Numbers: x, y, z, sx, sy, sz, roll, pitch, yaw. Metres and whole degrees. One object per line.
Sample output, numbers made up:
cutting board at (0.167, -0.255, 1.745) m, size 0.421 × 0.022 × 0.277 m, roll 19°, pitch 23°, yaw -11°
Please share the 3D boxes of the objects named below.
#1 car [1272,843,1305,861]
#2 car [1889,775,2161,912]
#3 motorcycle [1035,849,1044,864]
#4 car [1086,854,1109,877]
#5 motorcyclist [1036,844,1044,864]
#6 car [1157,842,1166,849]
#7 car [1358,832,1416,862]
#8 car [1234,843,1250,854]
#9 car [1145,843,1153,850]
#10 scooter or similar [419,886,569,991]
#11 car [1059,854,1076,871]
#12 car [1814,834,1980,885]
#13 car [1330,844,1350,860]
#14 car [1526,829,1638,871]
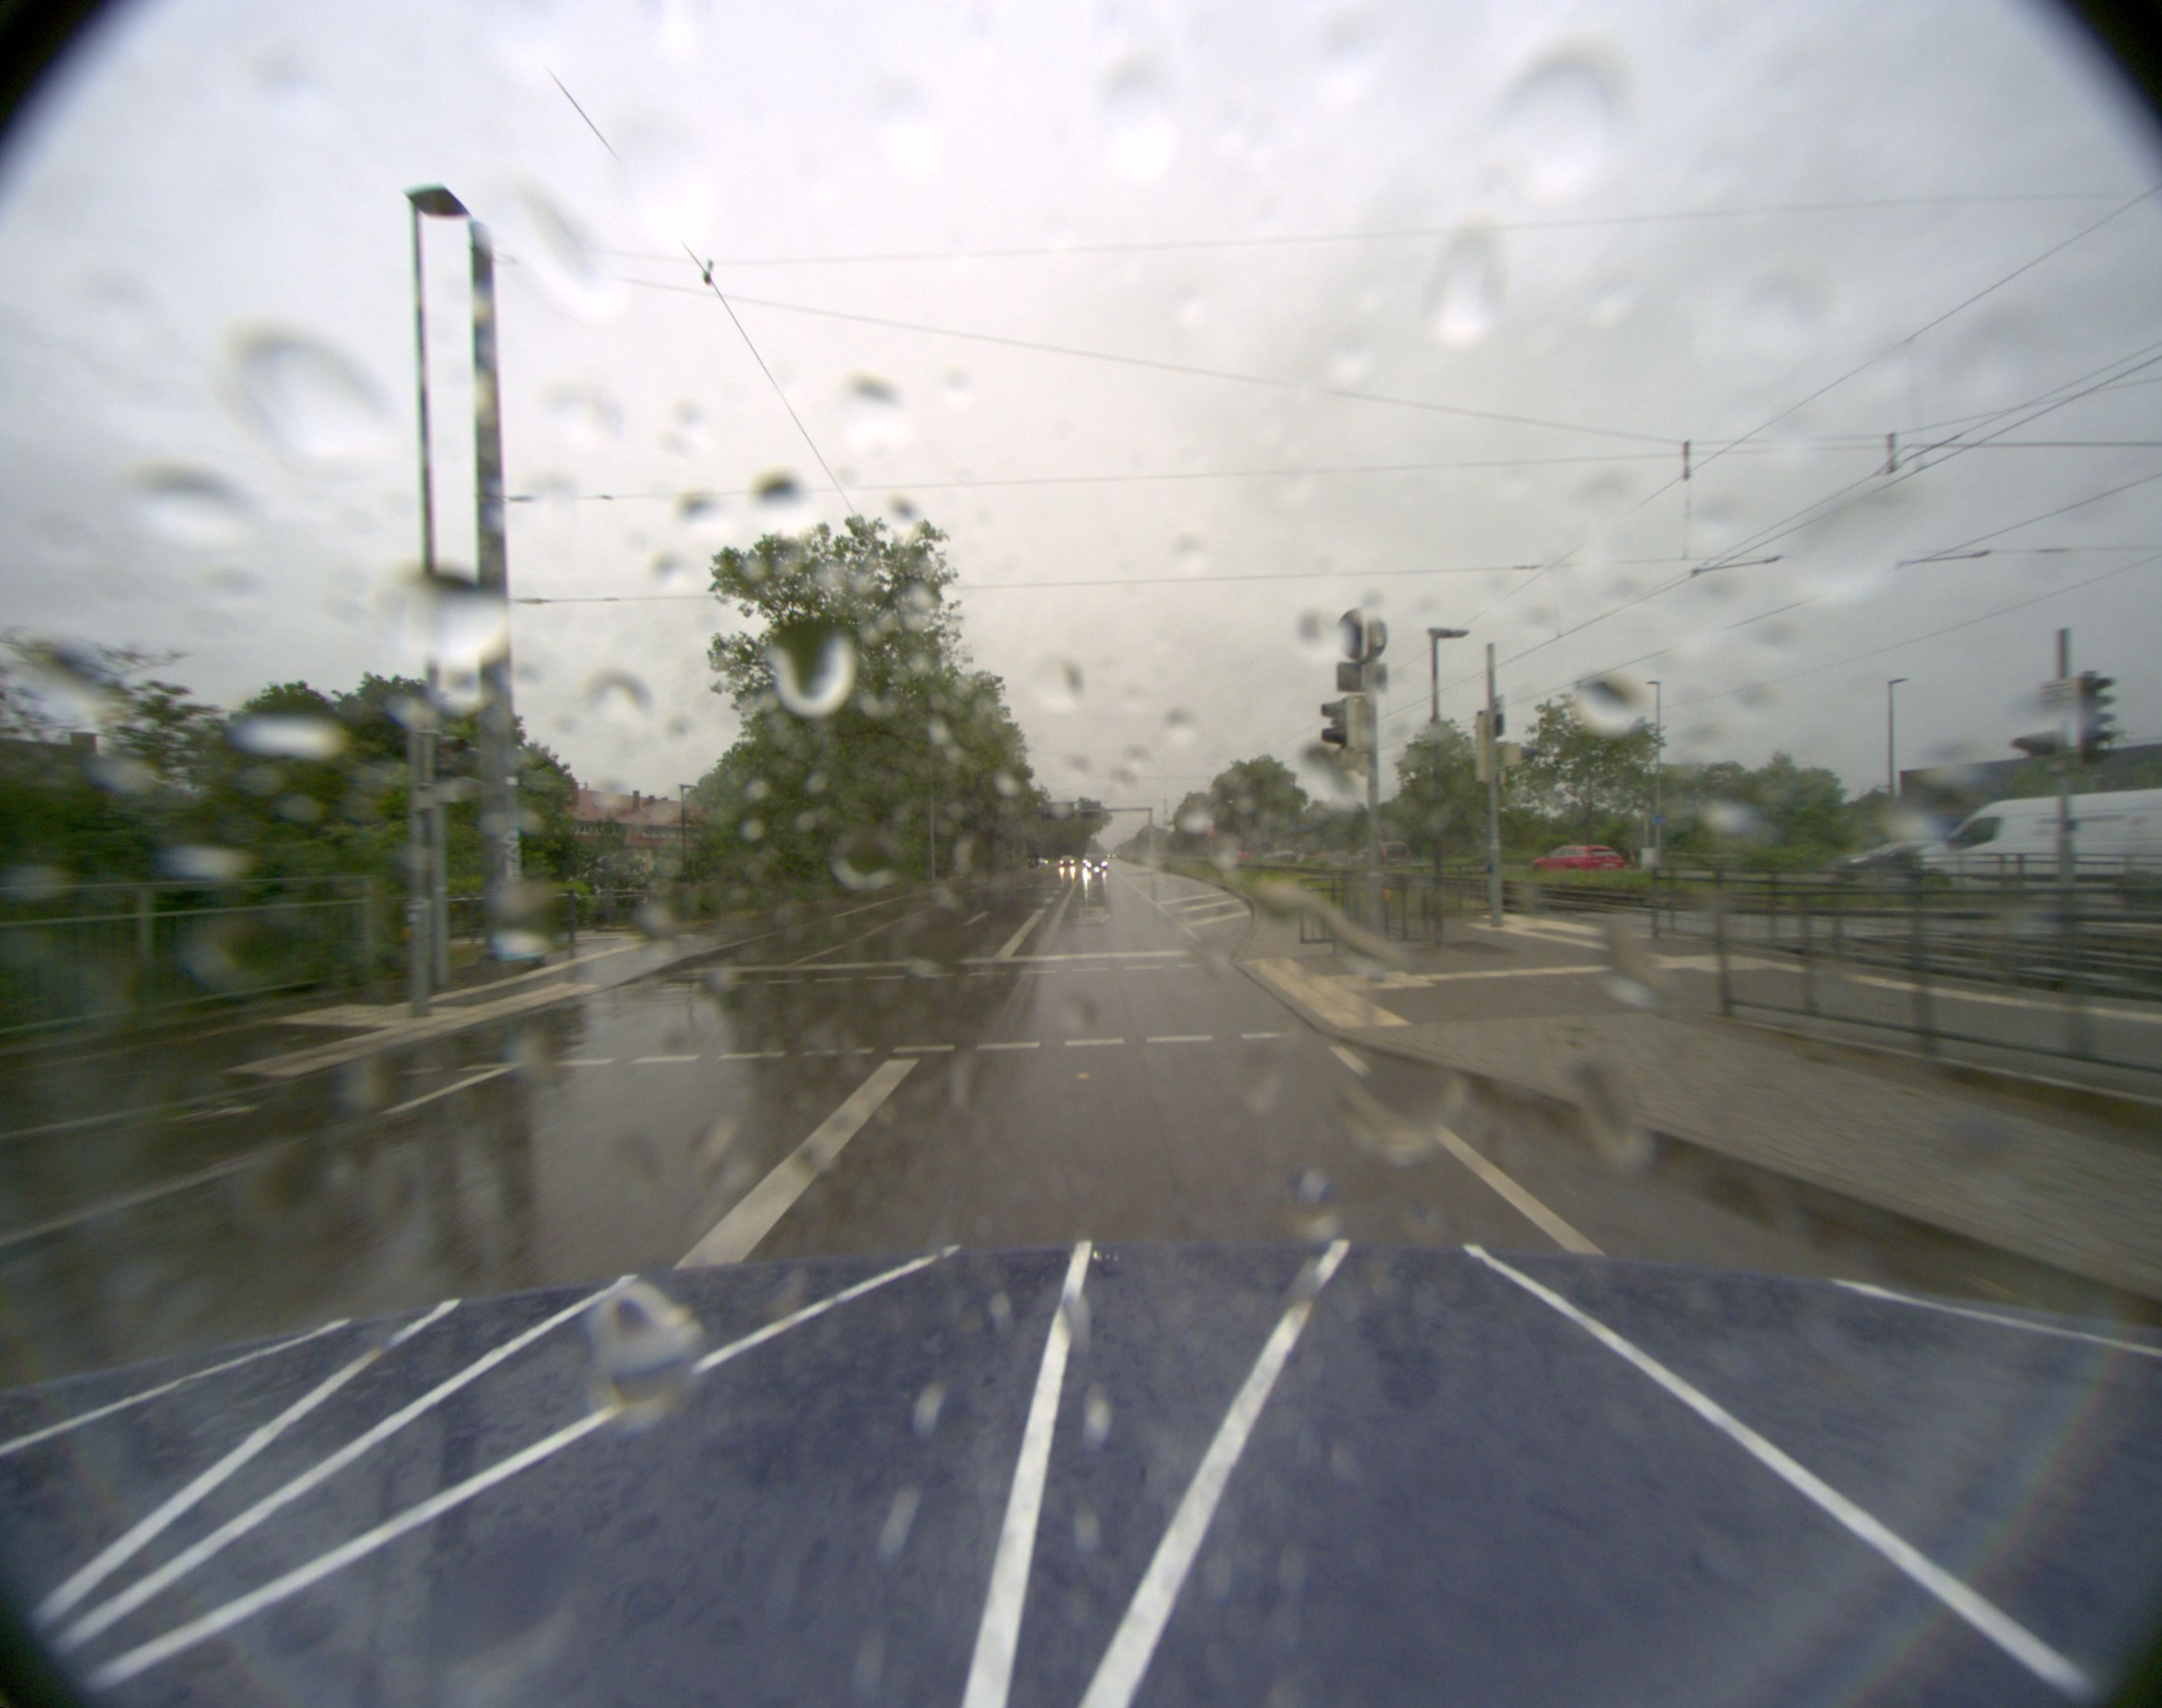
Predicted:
car at (19.904, -0.200, 72.943) m, size 1.998 × 1.587 × 4.381 m, roll 2°, pitch 1°, yaw 1°
car at (22.334, -0.268, 17.158) m, size 2.125 × 2.697 × 5.738 m, roll -2°, pitch 1°, yaw 1°
motorcycle at (-4.813, 0.261, 88.588) m, size 0.845 × 1.710 × 2.586 m, roll -2°, pitch 1°, yaw 1°
car at (1.580, 1.019, 71.806) m, size 1.998 × 2.002 × 4.000 m, roll -2°, pitch 1°, yaw 2°
motorcyclist at (-4.807, -0.002, 88.509) m, size 0.762 × 2.246 × 0.915 m, roll -2°, pitch 2°, yaw 1°
car at (23.473, -2.368, 221.253) m, size 1.975 × 2.002 × 4.519 m, roll -2°, pitch 1°, yaw -2°
car at (19.252, -0.443, 48.009) m, size 1.998 × 1.761 × 4.257 m, roll -2°, pitch 1°, yaw 1°
car at (23.072, -0.788, 108.856) m, size 1.605 × 1.580 × 3.618 m, roll -2°, pitch 1°, yaw 1°
car at (20.675, -2.196, 230.766) m, size 1.998 × 2.002 × 4.000 m, roll -2°, pitch 1°, yaw 2°
scooter or similar at (-8.464, 1.176, 11.055) m, size 0.761 × 1.285 × 1.647 m, roll -2°, pitch 1°, yaw 4°
car at (-1.722, 1.029, 96.930) m, size 1.999 × 2.002 × 3.998 m, roll -2°, pitch 1°, yaw -3°
car at (32.326, 0.211, 30.265) m, size 3.991 × 1.849 × 2.003 m, roll -2°, pitch 1°, yaw 22°
car at (28.740, -0.261, 84.320) m, size 1.996 × 1.671 × 4.545 m, roll -2°, pitch 1°, yaw 20°
car at (22.273, -0.184, 34.017) m, size 1.998 × 1.697 × 4.624 m, roll -2°, pitch 1°, yaw 1°
